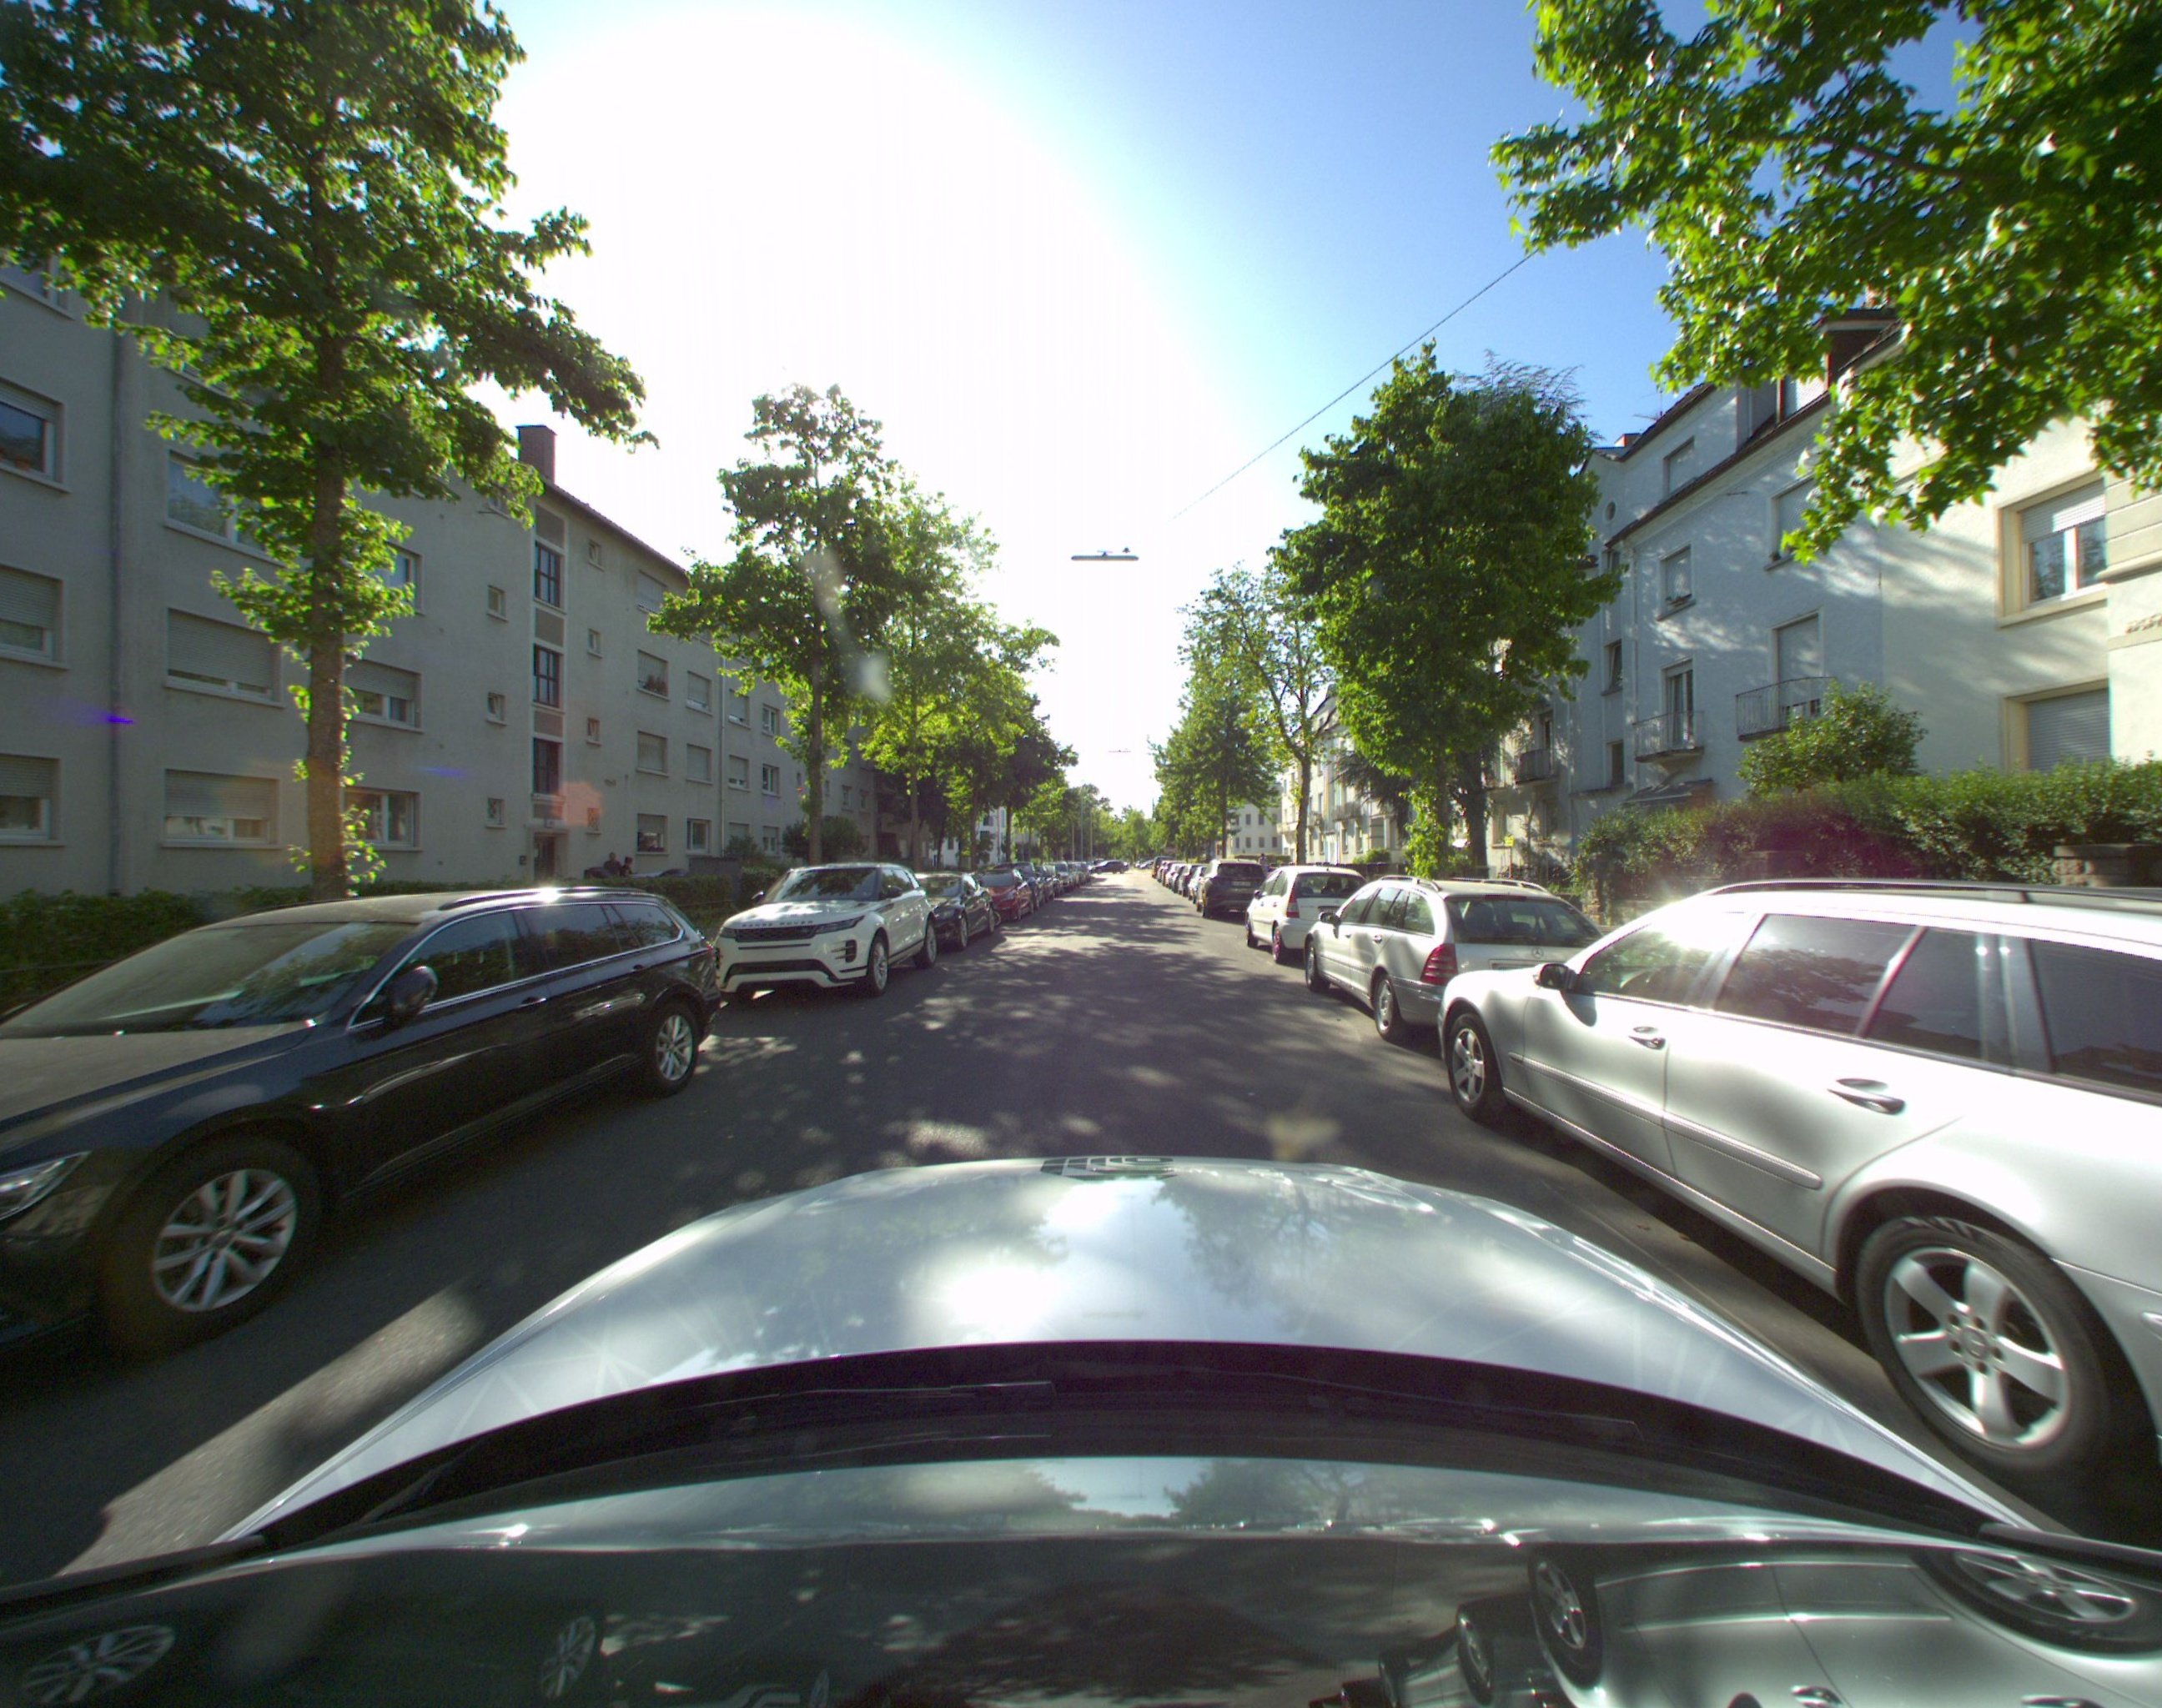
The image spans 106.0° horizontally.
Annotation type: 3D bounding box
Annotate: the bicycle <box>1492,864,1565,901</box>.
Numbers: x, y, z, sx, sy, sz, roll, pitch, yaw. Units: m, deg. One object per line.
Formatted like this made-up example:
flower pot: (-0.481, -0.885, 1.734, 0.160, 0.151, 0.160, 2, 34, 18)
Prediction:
bicycle: (13.876, 0.874, 25.292, 1.887, 1.100, 0.584, -1, -1, 6)

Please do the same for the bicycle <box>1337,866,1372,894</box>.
bicycle: (11.305, 1.063, 33.687, 0.801, 1.115, 2.000, 0, -1, 0)

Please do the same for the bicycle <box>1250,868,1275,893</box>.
bicycle: (8.816, 1.260, 39.666, 0.681, 1.153, 2.402, -1, -1, 0)

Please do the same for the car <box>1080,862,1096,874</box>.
car: (1.040, 2.032, 118.121, 1.985, 1.671, 4.003, -1, -1, 3)

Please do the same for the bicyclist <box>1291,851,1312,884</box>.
bicyclist: (10.557, 0.641, 39.003, 0.674, 1.553, 1.021, -1, -1, 0)

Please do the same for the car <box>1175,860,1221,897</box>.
car: (5.219, 1.071, 36.866, 1.685, 1.540, 4.445, 1, 0, 3)

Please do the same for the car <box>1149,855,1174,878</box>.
car: (7.219, 1.123, 73.474, 1.963, 1.949, 4.988, 0, -1, 2)

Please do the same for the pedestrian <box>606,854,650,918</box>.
pedestrian: (-13.832, 0.963, 24.879, 0.773, 1.914, 0.884, -1, -1, 30)

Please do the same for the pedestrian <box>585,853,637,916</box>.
pedestrian: (-14.438, 0.915, 25.048, 0.925, 1.888, 1.030, -1, -1, 18)

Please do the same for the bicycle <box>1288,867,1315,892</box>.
bicycle: (10.563, 1.210, 39.094, 0.681, 1.153, 2.402, -1, -1, 0)

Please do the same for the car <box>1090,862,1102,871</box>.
car: (2.879, 2.410, 155.176, 1.985, 1.585, 4.003, -1, -1, 3)

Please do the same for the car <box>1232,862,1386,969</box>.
car: (3.774, 0.934, 14.152, 1.648, 1.532, 3.971, 2, -1, 2)

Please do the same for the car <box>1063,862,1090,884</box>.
car: (-0.302, 1.473, 63.959, 1.832, 1.595, 4.264, -2, -1, 2)

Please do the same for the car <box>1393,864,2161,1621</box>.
car: (3.103, 0.806, 3.448, 1.814, 1.469, 4.911, 1, -1, 2)

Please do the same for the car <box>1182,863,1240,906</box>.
car: (4.897, 1.091, 31.229, 1.743, 1.454, 4.466, 2, 0, 3)

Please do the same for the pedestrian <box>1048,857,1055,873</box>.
pedestrian: (-3.959, 1.446, 107.821, 0.856, 2.014, 0.981, -1, -1, 1)

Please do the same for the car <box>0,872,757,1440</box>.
car: (-3.690, 0.900, 4.381, 1.721, 1.447, 4.823, -3, 0, 2)

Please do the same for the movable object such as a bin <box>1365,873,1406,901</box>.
movable object such as a bin: (10.594, 1.128, 28.288, 1.210, 0.905, 1.673, -1, -1, 23)

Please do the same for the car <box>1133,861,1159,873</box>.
car: (10.268, 1.981, 128.732, 3.973, 1.830, 2.000, -1, -1, 0)

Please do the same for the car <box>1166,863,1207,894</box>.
car: (5.345, 1.210, 41.561, 1.781, 1.453, 3.784, 1, -1, 3)

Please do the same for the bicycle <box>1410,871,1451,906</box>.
bicycle: (10.608, 1.029, 24.776, 0.578, 0.975, 1.906, -1, -1, 5)

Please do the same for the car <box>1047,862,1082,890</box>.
car: (-0.965, 1.281, 49.181, 1.703, 1.544, 3.934, -2, -1, 4)

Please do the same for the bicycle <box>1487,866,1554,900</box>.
bicycle: (14.867, 0.974, 27.581, 1.887, 1.100, 0.584, -1, -1, 6)

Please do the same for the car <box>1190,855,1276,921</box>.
car: (4.301, 0.903, 23.727, 1.917, 1.652, 5.101, 2, 0, 5)

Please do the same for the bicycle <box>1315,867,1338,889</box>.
bicycle: (11.521, 1.118, 38.233, 0.593, 0.957, 1.905, -1, -1, 3)

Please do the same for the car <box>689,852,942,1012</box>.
car: (-3.234, 0.864, 10.938, 1.721, 1.618, 4.368, -4, -1, 2)

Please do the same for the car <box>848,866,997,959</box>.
car: (-2.963, 1.042, 16.274, 1.721, 1.477, 4.623, -4, -1, 3)

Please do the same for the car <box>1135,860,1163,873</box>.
car: (10.090, 1.855, 121.403, 3.973, 1.806, 1.889, -1, -1, 0)

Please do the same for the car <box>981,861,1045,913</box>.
car: (-2.273, 1.090, 28.371, 1.783, 1.566, 4.464, -3, -1, 0)

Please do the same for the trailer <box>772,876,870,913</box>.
trailer: (-8.046, 1.233, 25.516, 1.780, 1.034, 3.286, 0, -1, 5)

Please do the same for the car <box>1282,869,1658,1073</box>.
car: (3.463, 0.908, 8.429, 1.704, 1.410, 4.863, 1, -1, 2)

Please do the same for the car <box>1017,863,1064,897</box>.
car: (-1.845, 1.157, 38.065, 1.755, 1.444, 3.911, -2, -1, 2)

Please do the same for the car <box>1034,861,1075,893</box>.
car: (-1.379, 1.197, 43.489, 1.804, 1.596, 4.236, -1, -1, 3)

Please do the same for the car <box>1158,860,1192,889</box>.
car: (6.137, 1.315, 53.373, 1.899, 1.699, 4.316, 2, 0, 3)

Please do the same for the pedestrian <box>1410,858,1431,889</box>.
pedestrian: (12.598, 0.723, 30.203, 0.507, 1.142, 0.757, 0, -1, 5)

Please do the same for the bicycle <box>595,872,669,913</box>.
bicycle: (-13.220, 1.103, 24.058, 0.508, 1.153, 1.966, 0, -1, 26)

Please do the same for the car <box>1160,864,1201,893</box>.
car: (5.698, 1.389, 47.146, 1.890, 1.474, 4.701, 3, -1, 2)

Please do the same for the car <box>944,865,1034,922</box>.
car: (-2.503, 1.051, 23.118, 1.772, 1.379, 4.266, -2, -1, 4)

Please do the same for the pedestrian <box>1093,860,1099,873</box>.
pedestrian: (2.071, 1.747, 114.092, 0.714, 1.900, 0.835, 0, -1, -7)

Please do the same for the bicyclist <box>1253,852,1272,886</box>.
bicyclist: (8.810, 0.711, 39.497, 0.675, 1.609, 0.921, -1, -1, 0)

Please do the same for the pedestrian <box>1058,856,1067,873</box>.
pedestrian: (-2.188, 1.279, 95.936, 0.853, 2.014, 0.984, -1, -1, 11)

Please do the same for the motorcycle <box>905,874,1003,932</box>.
motorcycle: (-3.088, 1.176, 19.912, 2.283, 1.270, 0.806, -2, -1, -8)

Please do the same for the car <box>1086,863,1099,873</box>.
car: (1.921, 2.223, 133.395, 1.985, 1.585, 4.003, -1, -1, 3)

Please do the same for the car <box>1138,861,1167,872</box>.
car: (10.241, 1.770, 116.168, 3.975, 1.587, 1.726, -1, -1, -1)

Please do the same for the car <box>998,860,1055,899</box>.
car: (-2.171, 1.012, 33.328, 1.822, 1.453, 4.125, -1, -1, 3)

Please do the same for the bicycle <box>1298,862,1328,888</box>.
bicycle: (11.570, 1.047, 40.637, 0.836, 1.257, 2.230, 0, -1, 0)

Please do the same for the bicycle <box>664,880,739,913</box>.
bicycle: (-10.952, 1.233, 23.535, 1.940, 0.917, 0.514, 0, -1, 3)

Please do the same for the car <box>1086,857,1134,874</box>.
car: (3.250, 1.308, 90.892, 5.103, 1.822, 1.980, 1, -1, -31)
